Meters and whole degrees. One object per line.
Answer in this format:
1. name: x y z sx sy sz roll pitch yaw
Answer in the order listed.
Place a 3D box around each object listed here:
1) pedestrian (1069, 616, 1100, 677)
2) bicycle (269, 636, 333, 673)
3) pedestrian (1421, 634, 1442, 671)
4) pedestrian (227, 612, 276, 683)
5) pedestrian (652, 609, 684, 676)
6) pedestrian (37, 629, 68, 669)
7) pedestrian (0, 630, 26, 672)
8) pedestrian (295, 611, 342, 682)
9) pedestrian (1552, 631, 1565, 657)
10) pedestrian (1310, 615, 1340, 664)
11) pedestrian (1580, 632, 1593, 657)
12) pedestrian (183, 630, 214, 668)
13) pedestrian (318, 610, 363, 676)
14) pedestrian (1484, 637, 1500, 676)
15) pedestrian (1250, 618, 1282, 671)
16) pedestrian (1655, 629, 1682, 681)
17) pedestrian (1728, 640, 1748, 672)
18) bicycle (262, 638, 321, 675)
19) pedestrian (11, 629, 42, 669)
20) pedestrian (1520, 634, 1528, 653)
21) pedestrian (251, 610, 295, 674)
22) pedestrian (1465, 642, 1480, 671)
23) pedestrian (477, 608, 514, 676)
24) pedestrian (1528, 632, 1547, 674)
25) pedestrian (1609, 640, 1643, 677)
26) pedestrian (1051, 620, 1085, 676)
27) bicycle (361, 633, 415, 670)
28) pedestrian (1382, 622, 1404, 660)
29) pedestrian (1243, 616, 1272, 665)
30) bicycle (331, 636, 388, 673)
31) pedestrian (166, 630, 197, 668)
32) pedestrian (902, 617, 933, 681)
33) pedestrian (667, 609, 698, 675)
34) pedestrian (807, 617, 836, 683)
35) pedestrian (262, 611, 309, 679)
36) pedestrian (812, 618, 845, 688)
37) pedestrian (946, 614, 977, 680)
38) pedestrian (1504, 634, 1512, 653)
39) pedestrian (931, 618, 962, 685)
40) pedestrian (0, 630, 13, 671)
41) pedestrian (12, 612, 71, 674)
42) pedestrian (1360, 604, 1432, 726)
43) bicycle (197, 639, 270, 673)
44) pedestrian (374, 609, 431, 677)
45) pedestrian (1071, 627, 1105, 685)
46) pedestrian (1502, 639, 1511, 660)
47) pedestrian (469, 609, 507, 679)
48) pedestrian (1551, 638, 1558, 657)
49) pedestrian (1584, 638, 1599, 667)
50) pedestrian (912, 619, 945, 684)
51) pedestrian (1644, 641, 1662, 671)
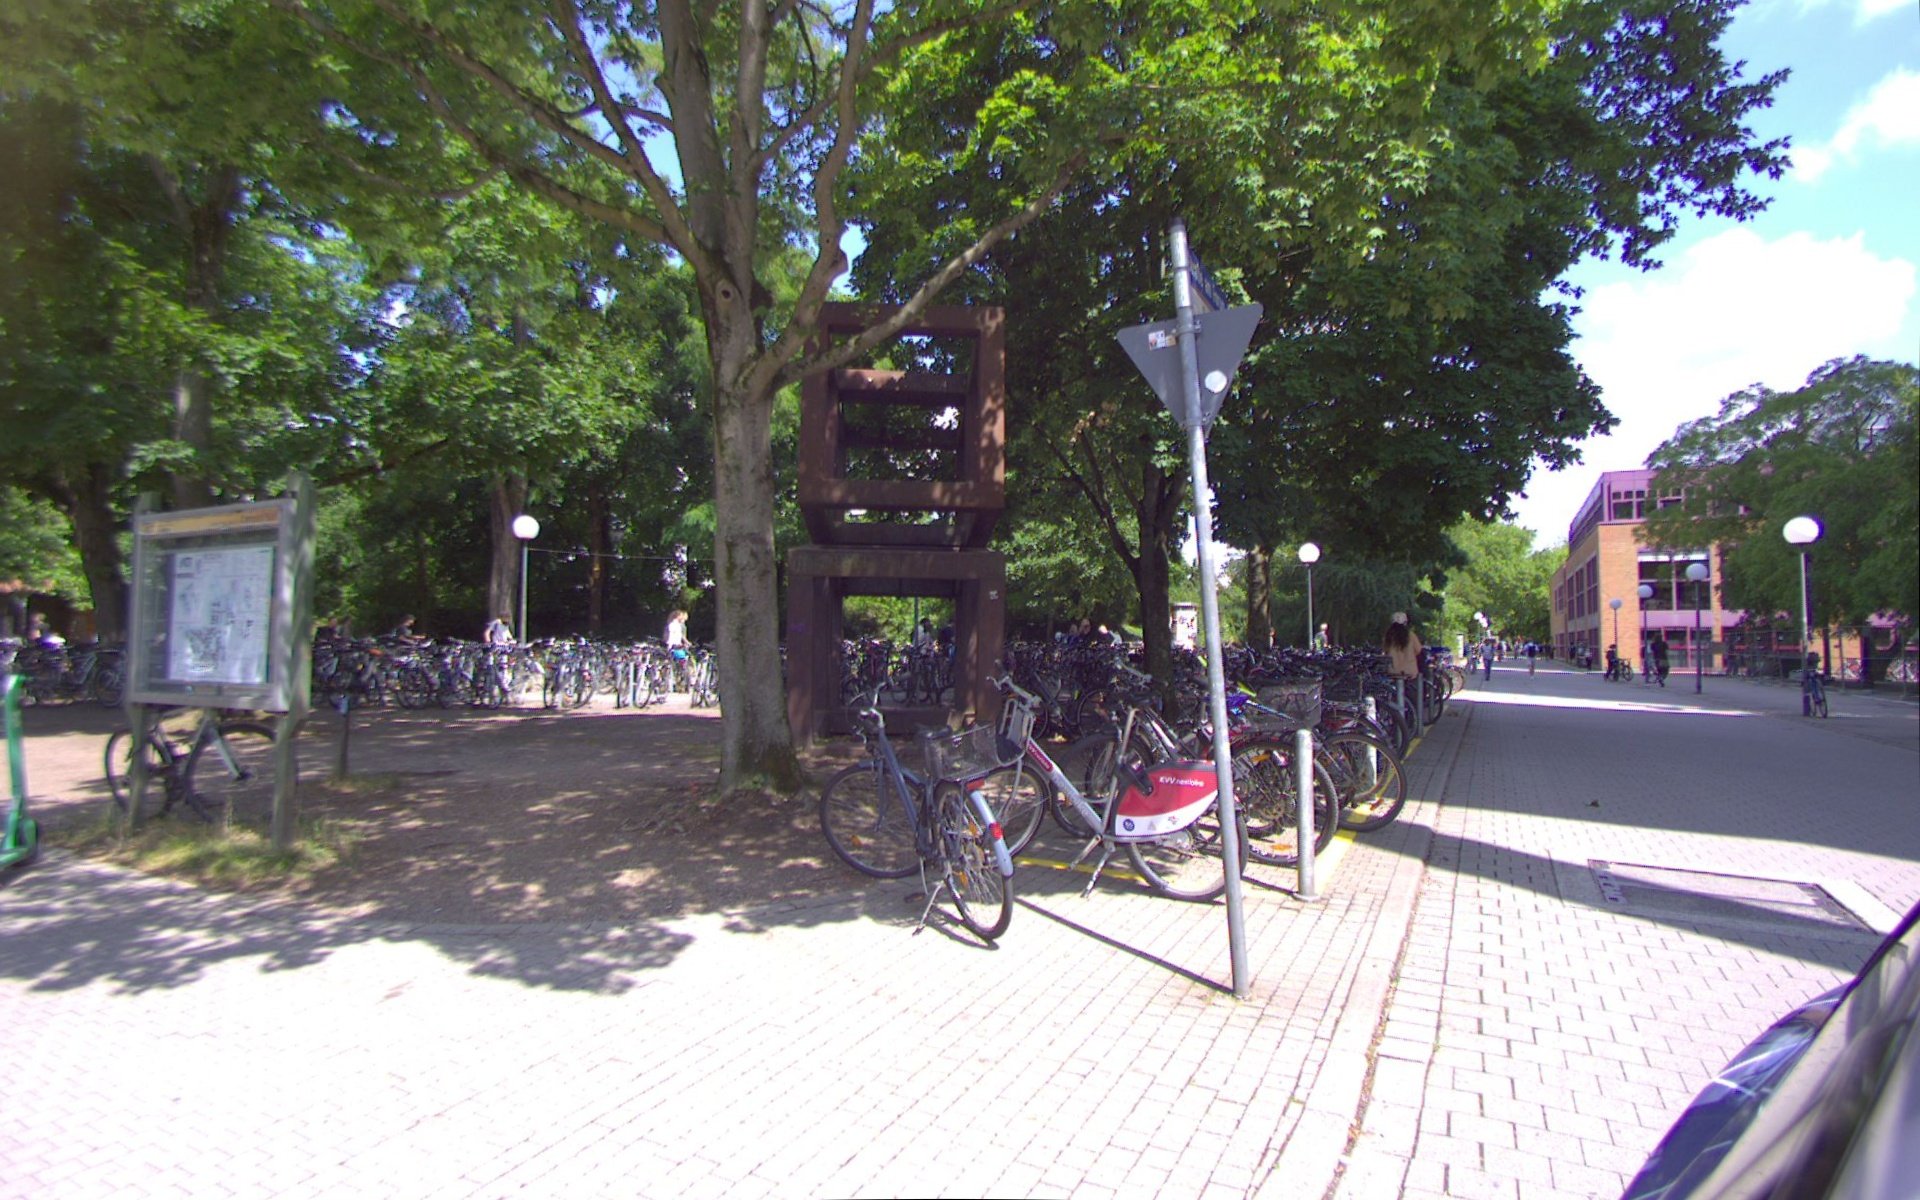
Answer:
1. pedestrian: 3.789 1.409 30.845 0.706 1.813 0.746 1 -2 -15
2. bicycle: -20.303 1.657 31.220 0.471 1.053 1.954 -1 -1 9
3. pedestrian: 20.311 2.249 43.607 0.504 1.531 0.693 -1 0 -15
4. pedestrian: -18.501 1.224 26.419 0.712 1.798 0.739 0 -2 21
5. pedestrian: -7.893 1.139 27.374 0.706 1.798 0.746 1 -2 -23
6. pedestrian: -31.789 1.708 35.447 0.721 1.363 0.566 -1 0 24
7. pedestrian: -32.303 1.731 34.413 0.721 1.363 0.566 -1 0 24
8. pedestrian: -16.675 1.201 26.313 0.707 1.798 0.745 0 -2 -2
9. pedestrian: 43.567 3.184 73.645 0.737 1.785 0.965 -1 0 28
10. pedestrian: 12.127 1.296 33.621 0.740 1.590 0.711 -1 -2 37
11. pedestrian: 44.982 3.181 72.642 0.737 1.785 0.965 -1 0 28
12. pedestrian: -27.275 1.753 36.256 0.615 1.287 0.663 -1 0 24
13. pedestrian: -17.227 1.178 28.155 0.712 1.798 0.739 0 -2 21
14. pedestrian: 21.544 2.274 40.970 0.511 1.531 0.684 -1 0 30
15. pedestrian: 9.394 1.364 31.070 0.740 1.590 0.711 -1 -2 37
16. pedestrian: 25.932 1.998 37.056 0.738 1.785 0.964 -1 0 32
17. pedestrian: 39.233 2.823 51.032 0.685 1.531 0.510 -1 0 27
18. bicycle: -20.047 1.676 30.388 0.427 1.053 1.780 -1 -1 7
19. pedestrian: -32.696 1.720 35.460 0.721 1.363 0.566 -1 0 24
20. pedestrian: 54.615 4.229 98.037 0.561 1.785 0.794 -1 0 34
21. pedestrian: -19.513 1.190 28.753 0.708 1.798 0.744 0 -2 3
22. pedestrian: 27.958 3.069 55.228 0.685 1.531 0.510 -1 0 27
23. pedestrian: -12.500 1.136 27.260 0.706 1.798 0.746 1 -2 -11
24. pedestrian: 24.940 2.284 43.714 0.558 1.785 0.799 -1 0 20
25. pedestrian: 29.507 2.589 44.845 1.182 1.531 0.730 -1 0 -26
26. pedestrian: 3.111 1.382 29.233 0.706 1.590 0.746 1 -2 -24
27. bicycle: -17.184 1.526 30.449 0.470 1.053 1.749 -1 -1 7
28. pedestrian: 18.048 1.684 42.145 0.504 1.531 0.693 -1 0 -15
29. pedestrian: 9.871 1.327 33.609 0.740 1.590 0.711 -1 -2 37
30. bicycle: -18.323 1.644 30.925 0.470 1.053 1.828 -1 -1 7
31. pedestrian: -28.096 1.759 36.514 0.615 1.287 0.663 -1 0 24
32. pedestrian: -1.232 1.405 29.020 0.705 1.798 0.746 1 -2 -17
33. pedestrian: -7.792 1.171 28.395 0.706 1.798 0.746 1 -3 -23
34. pedestrian: -3.811 1.364 27.859 0.707 1.798 0.745 1 -2 -3
35. pedestrian: -18.166 1.205 27.278 0.712 1.798 0.739 0 -2 21
36. pedestrian: -3.472 1.385 26.695 0.796 1.798 0.855 1 -2 -4
37. pedestrian: 0.029 1.306 28.026 0.706 1.798 0.746 1 -2 -12
38. pedestrian: 53.186 4.245 98.206 0.561 1.785 0.794 -1 0 34
39. pedestrian: -0.357 1.382 27.298 0.706 1.798 0.658 1 -2 -12
40. pedestrian: -33.029 1.736 34.722 0.721 1.363 0.566 -1 0 24
41. pedestrian: -27.499 1.278 30.306 0.908 1.798 0.954 0 -2 21
42. pedestrian: 6.307 0.928 14.659 0.934 1.725 0.424 -1 -4 25
43. bicycle: -22.345 1.708 31.172 0.603 0.991 1.954 -1 -1 9
44. pedestrian: -15.192 1.164 27.604 0.956 1.798 0.961 0 -2 7
45. pedestrian: 3.605 1.562 28.545 0.706 1.590 0.746 1 -2 -20
46. pedestrian: 48.663 4.434 90.161 0.661 1.785 0.797 -1 0 26
47. pedestrian: -12.328 1.146 26.467 0.706 1.798 0.746 1 -2 -11
48. pedestrian: 57.045 4.537 97.067 0.561 1.785 0.794 -1 0 34
49. pedestrian: 40.550 3.358 64.998 0.737 1.785 0.965 -1 0 28
50. pedestrian: -0.878 1.421 28.154 0.705 1.798 0.746 1 -2 -19
51. pedestrian: 36.624 2.976 53.490 0.685 1.531 0.510 -1 0 27
